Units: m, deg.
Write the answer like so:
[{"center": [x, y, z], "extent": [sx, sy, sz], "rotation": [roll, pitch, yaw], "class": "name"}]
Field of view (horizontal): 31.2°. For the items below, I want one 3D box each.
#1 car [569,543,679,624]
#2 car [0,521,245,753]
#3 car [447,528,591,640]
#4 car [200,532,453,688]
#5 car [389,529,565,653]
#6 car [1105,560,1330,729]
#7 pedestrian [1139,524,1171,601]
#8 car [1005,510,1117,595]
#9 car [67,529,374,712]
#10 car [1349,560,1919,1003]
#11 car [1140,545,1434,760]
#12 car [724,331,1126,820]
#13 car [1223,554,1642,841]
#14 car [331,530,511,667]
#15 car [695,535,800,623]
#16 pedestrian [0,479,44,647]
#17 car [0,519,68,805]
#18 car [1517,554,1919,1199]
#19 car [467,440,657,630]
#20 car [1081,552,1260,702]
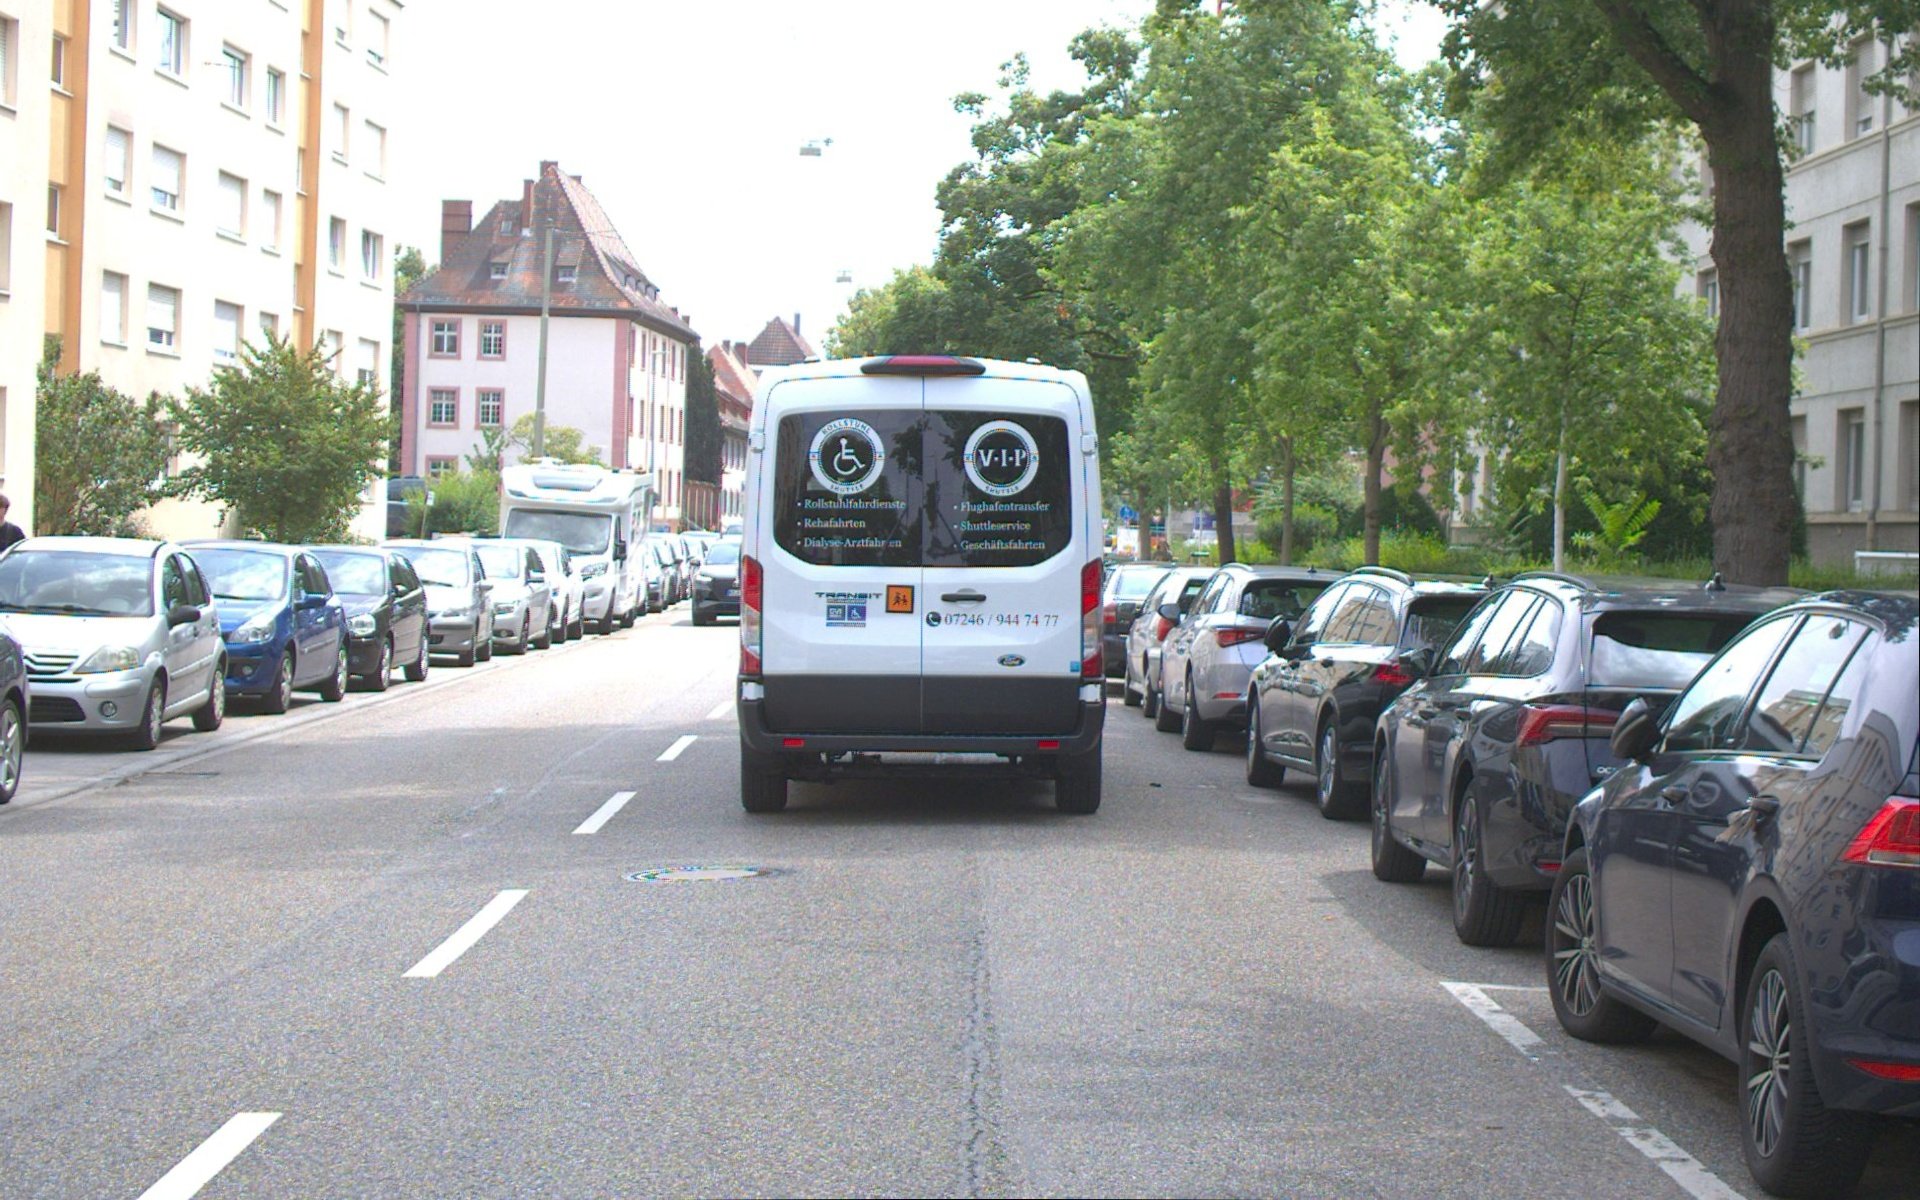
[{"center": [-7.123, -0.383, 73.312], "extent": [1.885, 1.574, 5.220], "rotation": [3, 1, -2], "class": "car"}, {"center": [-6.645, 0.219, 26.073], "extent": [1.670, 1.556, 3.852], "rotation": [3, 1, -2], "class": "car"}, {"center": [-6.829, -0.281, 53.597], "extent": [1.688, 1.574, 4.594], "rotation": [3, 1, -1], "class": "car"}, {"center": [-6.678, 0.066, 36.640], "extent": [1.818, 1.478, 4.116], "rotation": [3, 1, 1], "class": "car"}, {"center": [-6.736, -0.157, 48.364], "extent": [1.755, 1.574, 4.568], "rotation": [3, 1, 0], "class": "car"}, {"center": [2.400, 0.376, 32.843], "extent": [1.670, 1.396, 3.852], "rotation": [4, 1, -2], "class": "car"}, {"center": [4.674, -0.892, 82.288], "extent": [0.522, 1.822, 0.523], "rotation": [0, 1, -43], "class": "pedestrian"}, {"center": [2.153, -1.052, 75.060], "extent": [1.927, 1.655, 5.326], "rotation": [4, 1, -3], "class": "car"}, {"center": [-6.651, 0.146, 31.316], "extent": [1.818, 1.478, 3.885], "rotation": [3, 1, 1], "class": "car"}, {"center": [2.775, 0.619, 14.428], "extent": [1.697, 1.464, 4.560], "rotation": [3, 1, 0], "class": "car"}, {"center": [2.505, 0.347, 27.422], "extent": [1.697, 1.464, 4.718], "rotation": [3, 1, -2], "class": "car"}, {"center": [-0.280, -0.150, 20.289], "extent": [2.070, 2.531, 4.635], "rotation": [1, 1, -2], "class": "car"}, {"center": [2.775, 0.505, 21.239], "extent": [1.697, 1.464, 4.754], "rotation": [3, 1, -2], "class": "car"}, {"center": [-6.722, -0.060, 43.190], "extent": [1.722, 1.534, 4.005], "rotation": [2, 2, -2], "class": "car"}, {"center": [-3.981, -0.429, 64.947], "extent": [1.818, 1.580, 4.436], "rotation": [1, 1, -2], "class": "car"}, {"center": [-10.404, -0.410, 37.485], "extent": [0.619, 1.807, 0.804], "rotation": [1, 1, -3], "class": "pedestrian"}, {"center": [-6.355, 0.321, 18.464], "extent": [1.942, 1.607, 4.302], "rotation": [3, 1, 0], "class": "car"}, {"center": [2.714, 0.659, 9.229], "extent": [1.697, 1.464, 4.101], "rotation": [3, 1, 0], "class": "car"}, {"center": [-6.906, -1.147, 60.521], "extent": [2.510, 3.013, 7.397], "rotation": [3, 1, -1], "class": "car"}, {"center": [2.279, 0.248, 38.075], "extent": [1.780, 1.464, 4.614], "rotation": [3, 1, 2], "class": "car"}]
